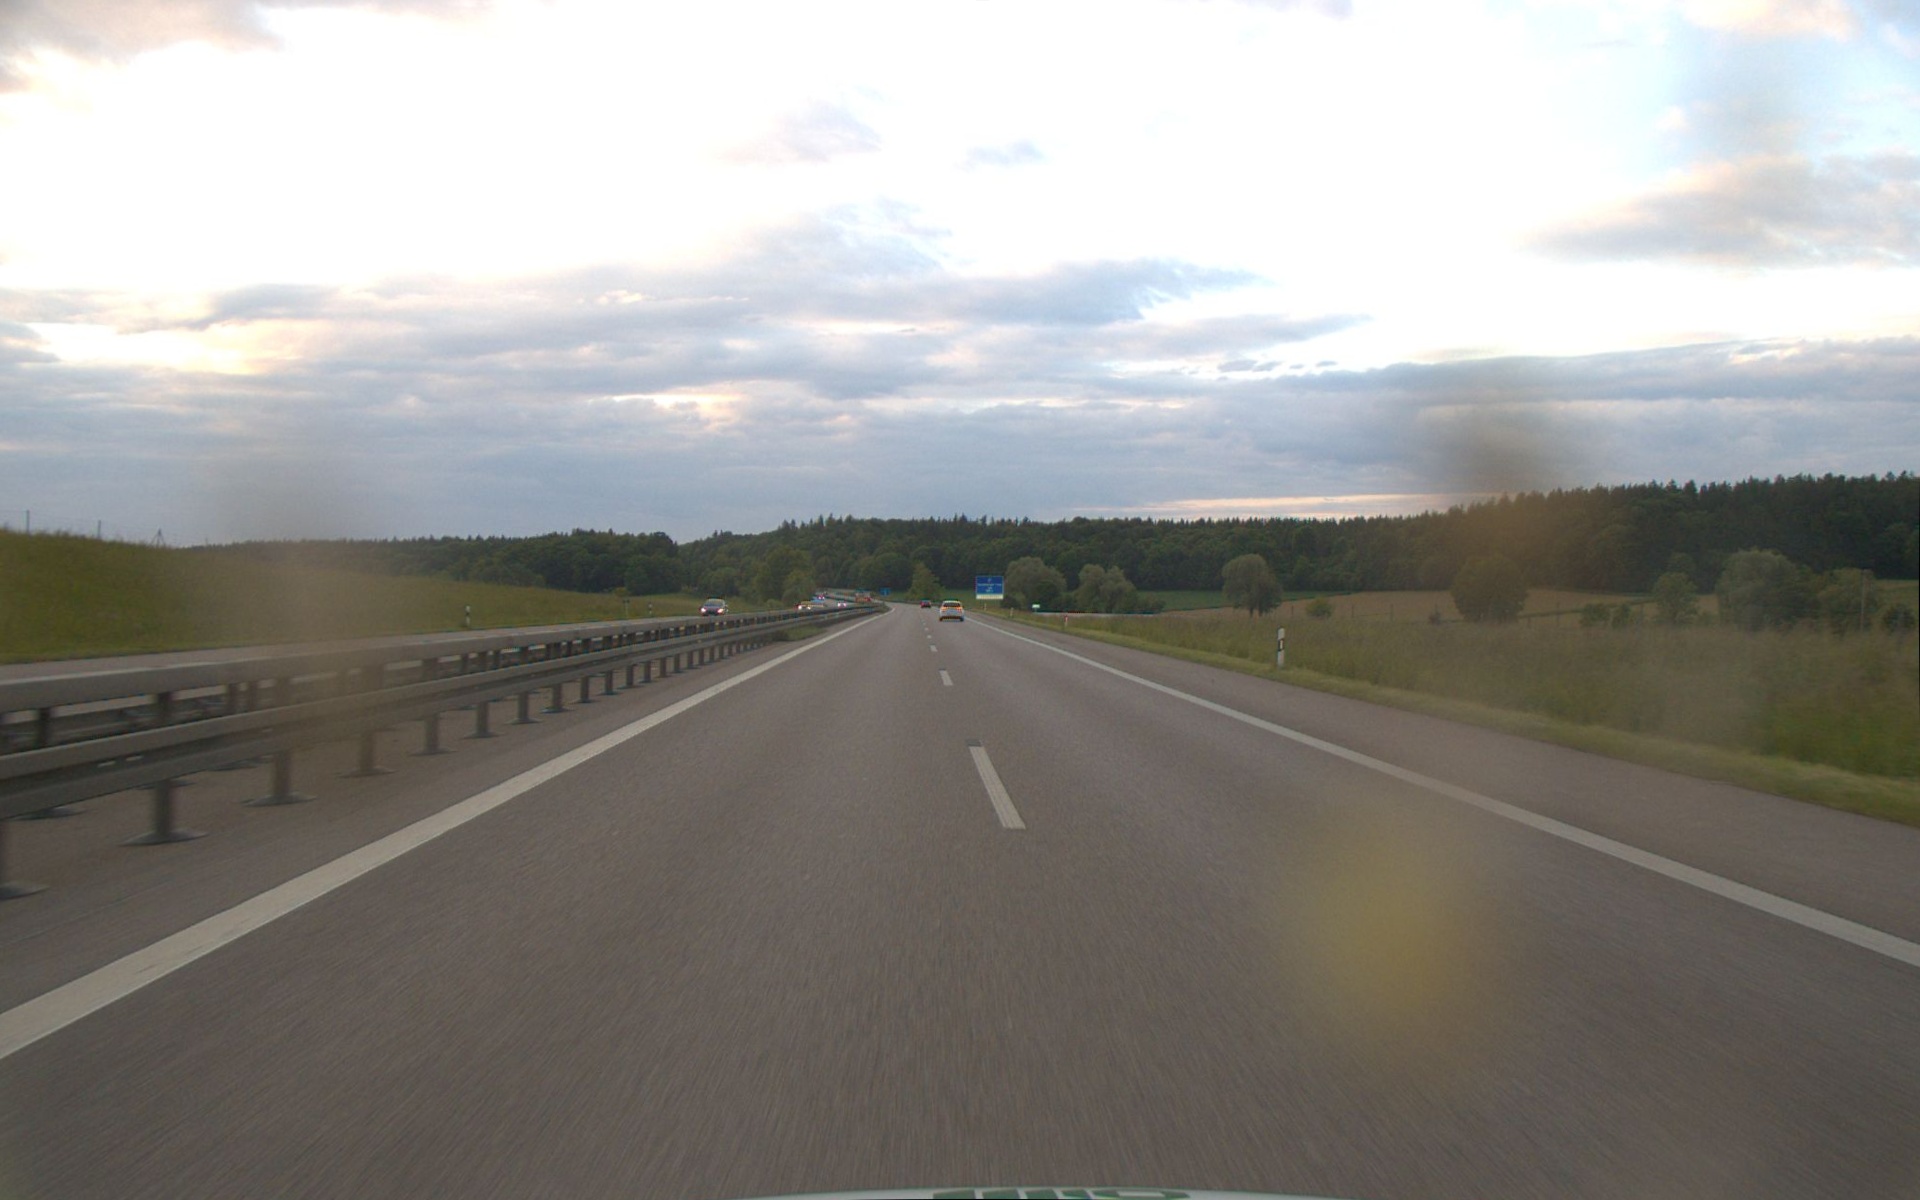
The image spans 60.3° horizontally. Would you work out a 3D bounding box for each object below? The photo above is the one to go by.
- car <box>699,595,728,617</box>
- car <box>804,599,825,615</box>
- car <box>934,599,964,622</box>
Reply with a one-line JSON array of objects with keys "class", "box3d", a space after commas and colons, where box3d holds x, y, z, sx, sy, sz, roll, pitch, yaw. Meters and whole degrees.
[{"class": "car", "box3d": [-17.656, 0.432, 118.692, 1.497, 1.458, 4.433, 2, 0, -2]}, {"class": "car", "box3d": [-15.244, 0.713, 173.399, 1.703, 1.482, 5.120, 2, 0, -1]}, {"class": "car", "box3d": [-0.835, 0.742, 121.169, 1.913, 1.558, 4.077, 2, 0, -4]}]
